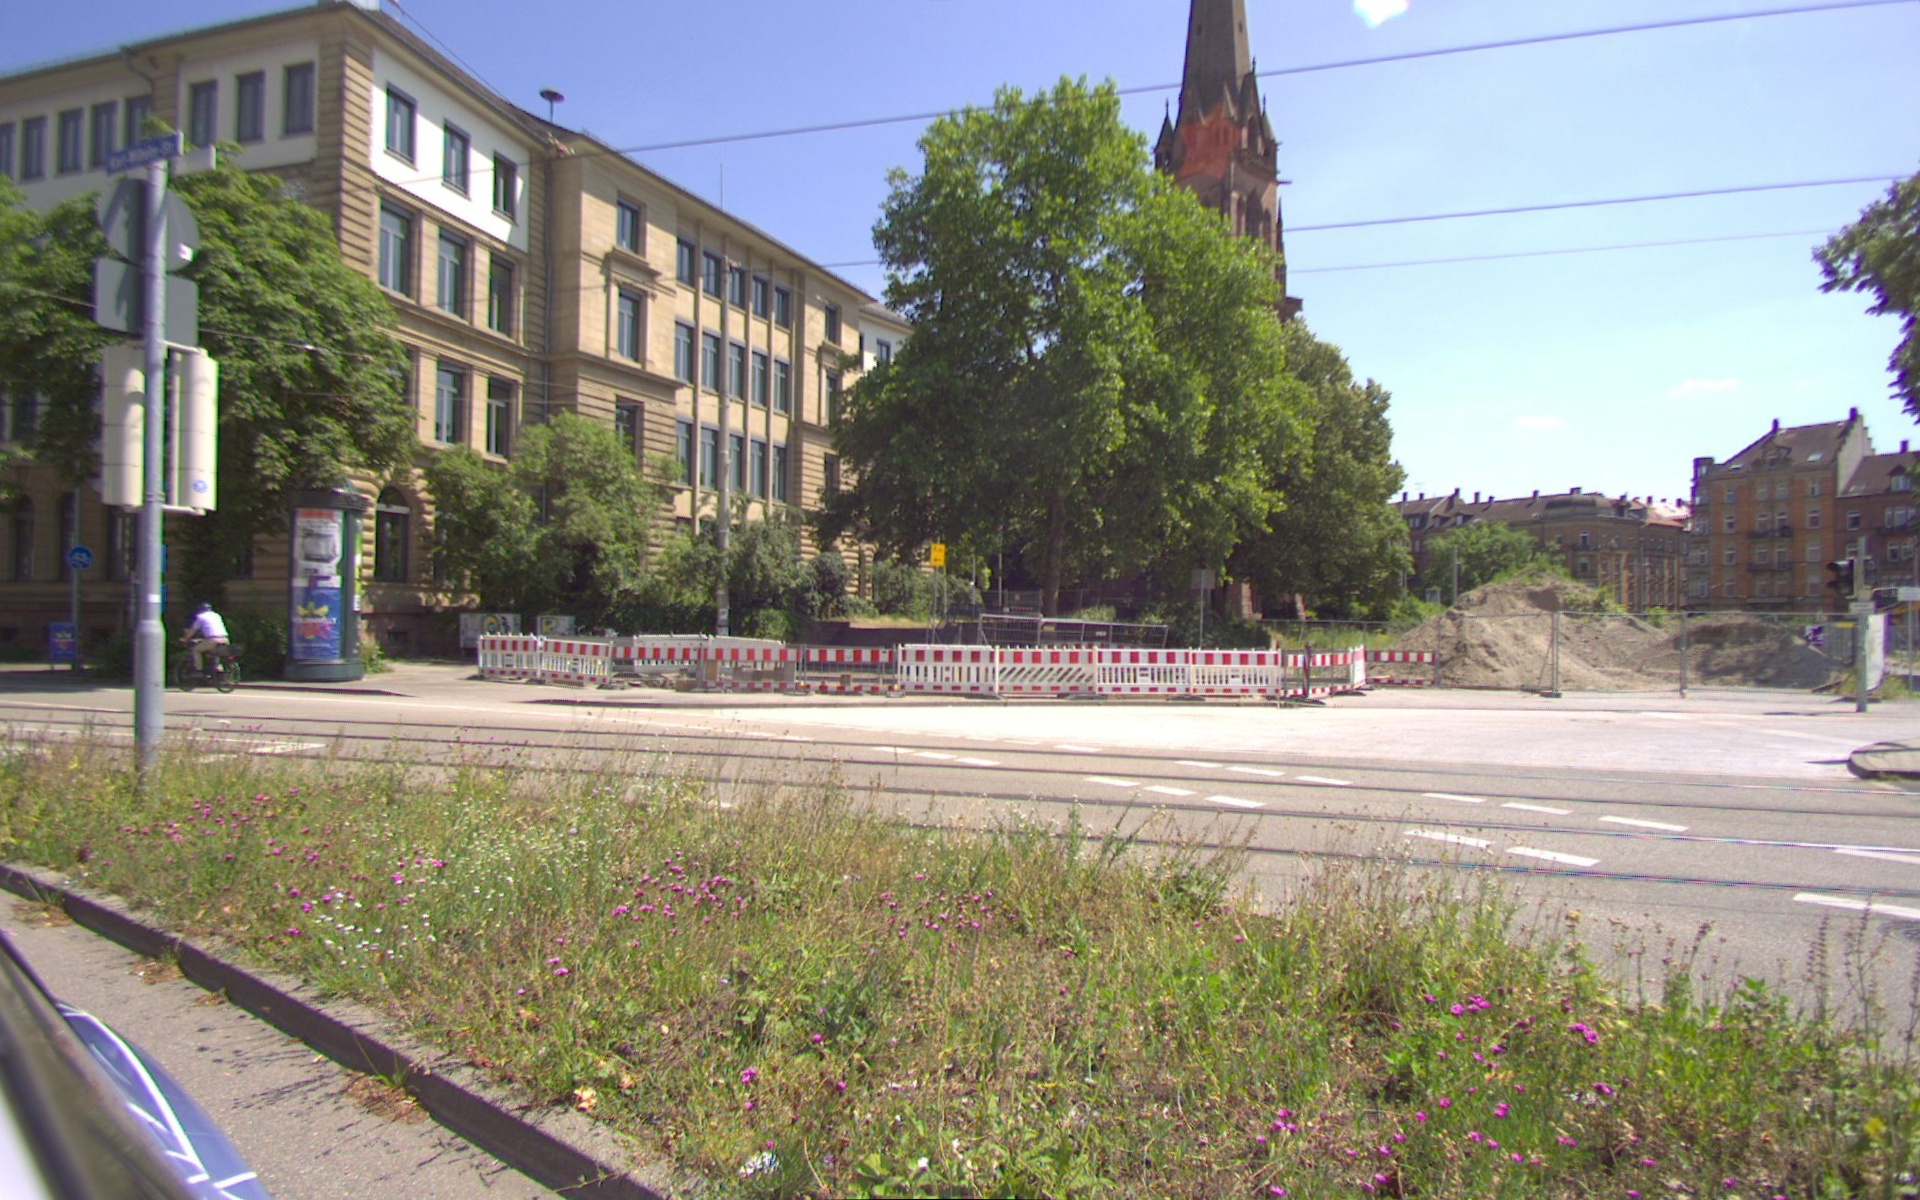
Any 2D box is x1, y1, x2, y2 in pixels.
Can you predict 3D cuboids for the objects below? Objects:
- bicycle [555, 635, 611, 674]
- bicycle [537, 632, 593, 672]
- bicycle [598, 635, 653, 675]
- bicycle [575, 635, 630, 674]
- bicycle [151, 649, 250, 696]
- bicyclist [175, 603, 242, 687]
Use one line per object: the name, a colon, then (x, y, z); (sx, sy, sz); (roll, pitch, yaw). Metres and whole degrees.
bicycle: (-11.218, 1.606, 30.167); (0.501, 1.111, 1.725); (0, -2, 23)
bicycle: (-11.862, 1.540, 30.431); (0.461, 1.156, 1.673); (1, -1, 26)
bicycle: (-9.753, 1.581, 29.579); (0.501, 1.111, 1.725); (0, -2, 23)
bicycle: (-10.528, 1.591, 29.876); (0.501, 1.111, 1.725); (0, -2, 23)
bicycle: (-15.970, 1.515, 21.268); (2.354, 0.921, 0.501); (0, -2, 22)
bicyclist: (-15.742, 0.936, 21.202); (0.765, 1.723, 0.817); (0, -2, 21)
